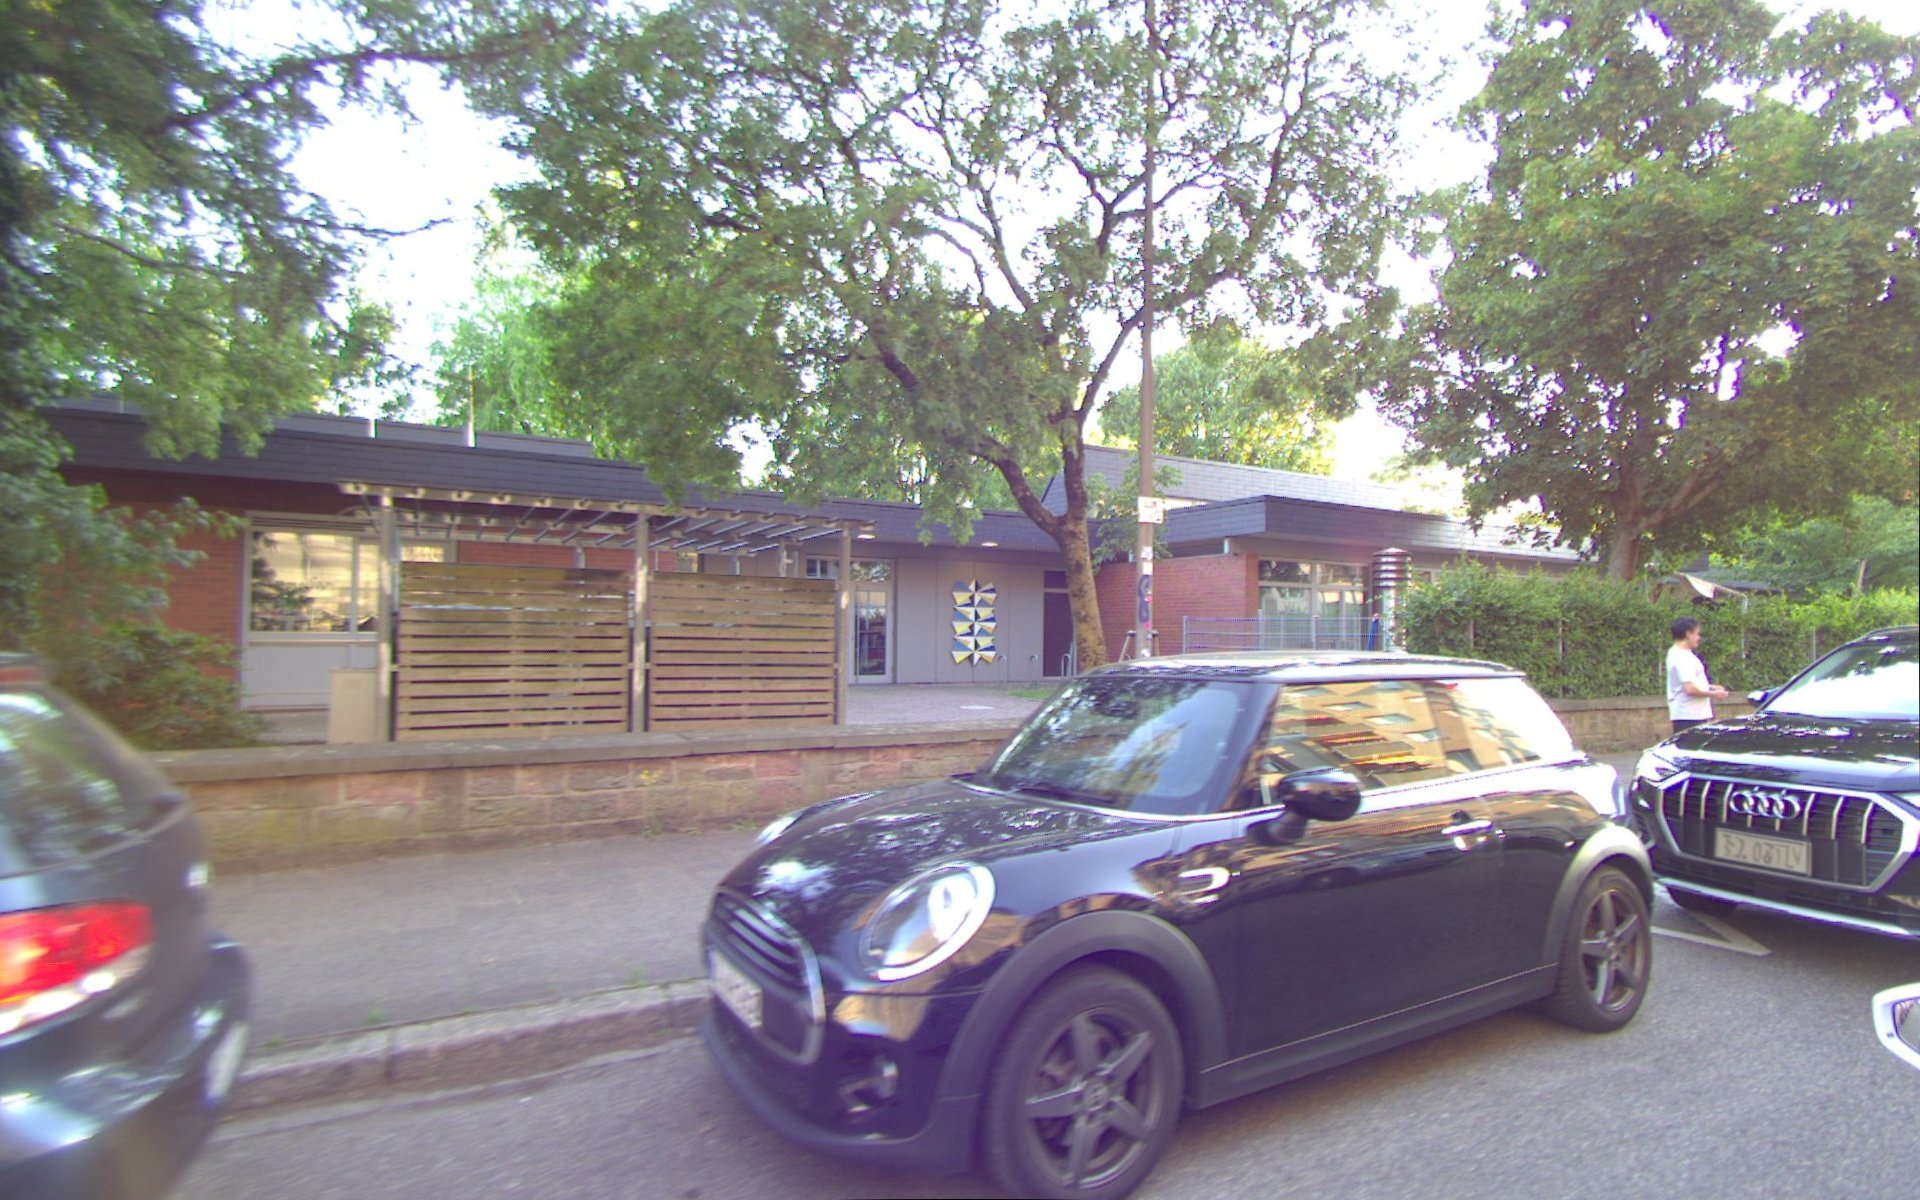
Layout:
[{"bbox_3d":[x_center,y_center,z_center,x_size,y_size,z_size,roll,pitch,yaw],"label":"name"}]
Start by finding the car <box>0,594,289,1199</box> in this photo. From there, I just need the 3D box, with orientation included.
[{"bbox_3d":[-3.510,0.734,1.255,4.311,1.515,1.707,2,-4,-31],"label":"car"}]

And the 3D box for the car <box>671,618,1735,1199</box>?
[{"bbox_3d":[1.066,0.887,3.896,3.944,1.497,1.630,2,-4,-29],"label":"car"}]

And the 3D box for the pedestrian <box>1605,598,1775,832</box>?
[{"bbox_3d":[6.213,0.926,8.571,0.778,1.855,0.933,2,-1,-31],"label":"pedestrian"}]

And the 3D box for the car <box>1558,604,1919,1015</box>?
[{"bbox_3d":[5.570,0.893,5.337,4.500,1.590,1.801,2,-2,-23],"label":"car"}]

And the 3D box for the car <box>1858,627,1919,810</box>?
[{"bbox_3d":[10.677,1.103,9.643,3.950,1.652,1.777,2,-4,-28],"label":"car"}]
